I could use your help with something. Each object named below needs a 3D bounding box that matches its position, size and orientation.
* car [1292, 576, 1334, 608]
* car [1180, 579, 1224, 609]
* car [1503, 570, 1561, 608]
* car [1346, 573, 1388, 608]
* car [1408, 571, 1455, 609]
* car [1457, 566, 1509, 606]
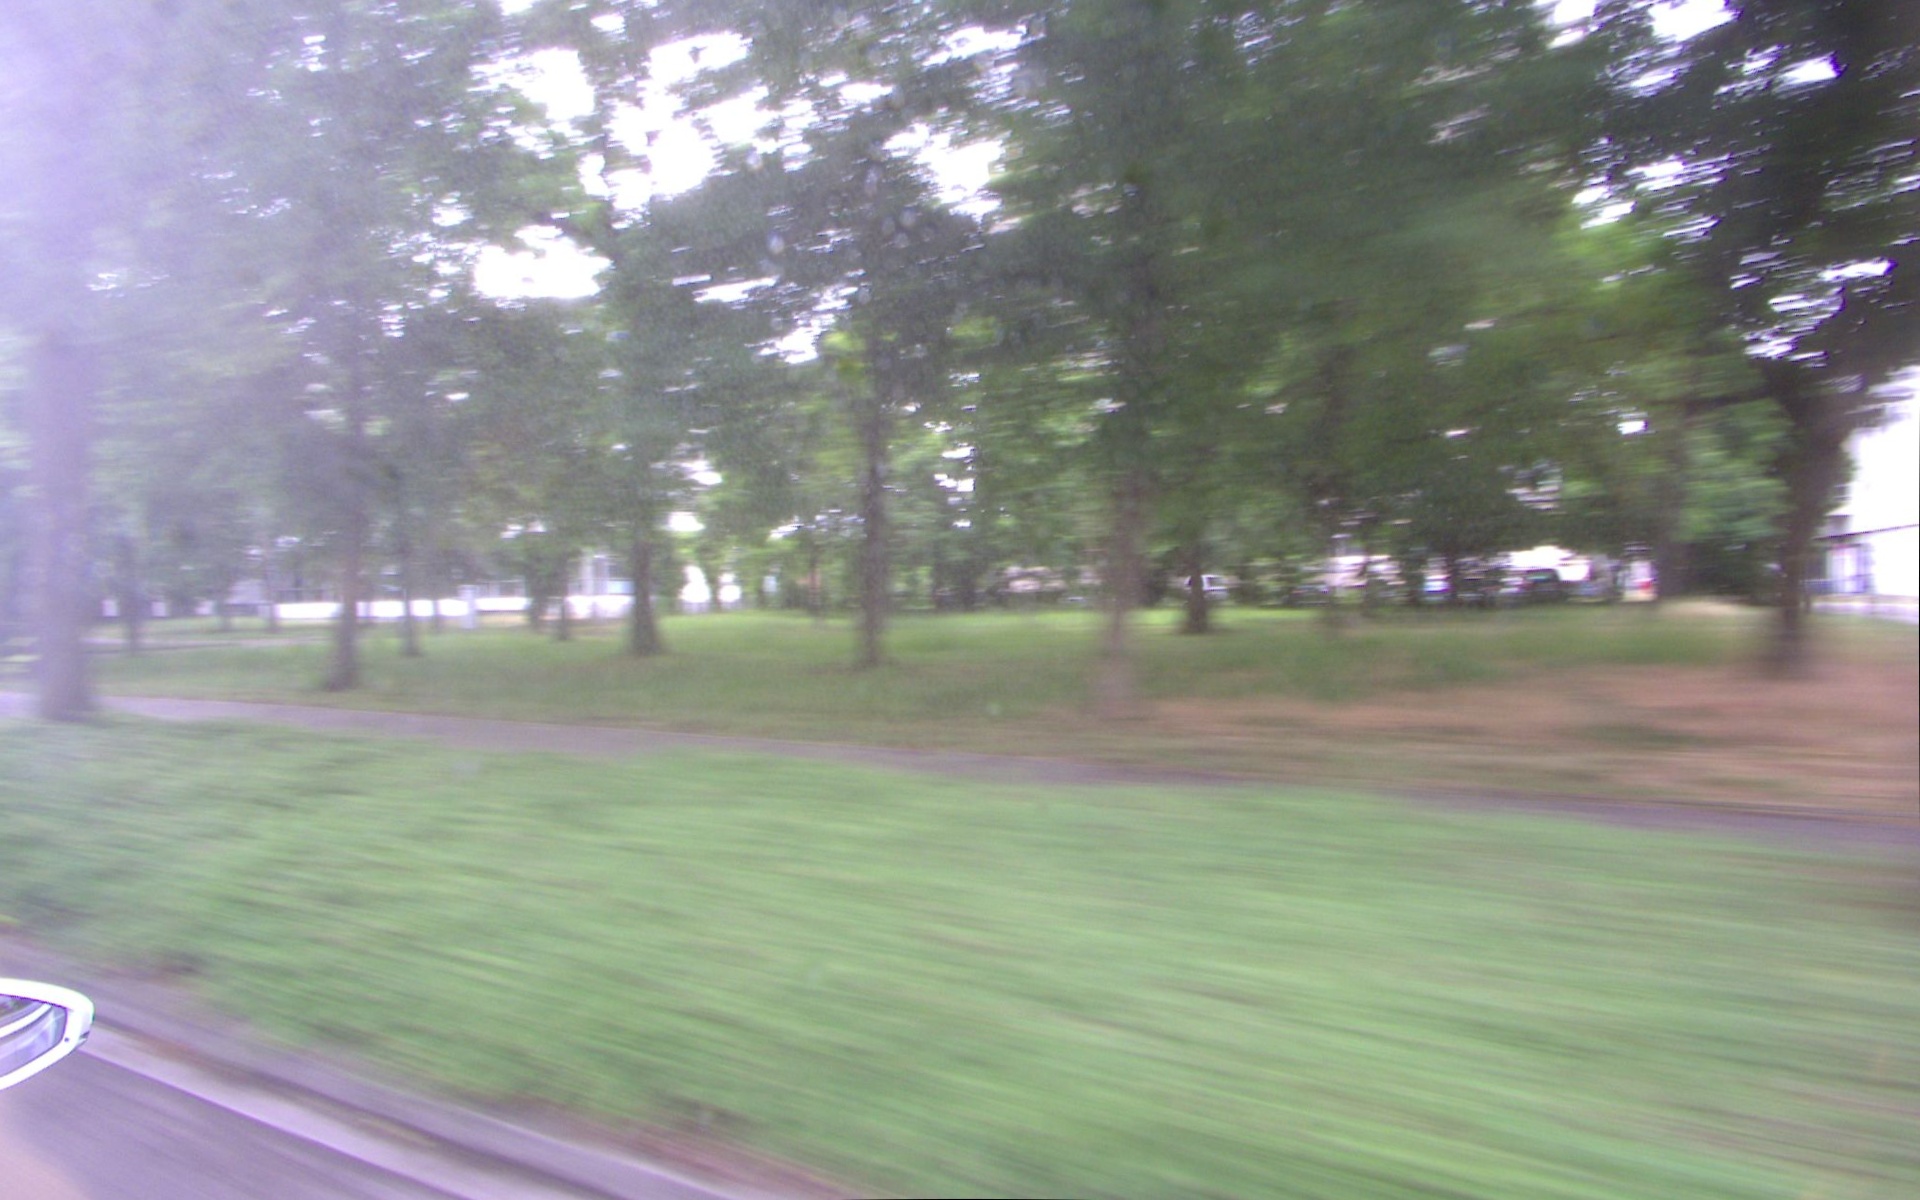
[{"bbox_3d":[19.206,-0.453,54.419,1.966,1.639,3.989,-1,0,22],"label":"car"},{"bbox_3d":[13.909,-0.326,57.514,1.891,1.639,3.989,-1,0,22],"label":"car"},{"bbox_3d":[28.526,-0.503,50.055,1.966,1.785,3.990,-1,0,22],"label":"car"},{"bbox_3d":[21.574,-0.468,53.143,1.966,1.750,3.991,-1,-1,22],"label":"car"},{"bbox_3d":[24.451,-0.482,52.051,1.966,1.817,3.991,-1,-1,22],"label":"car"},{"bbox_3d":[26.623,-0.655,51.099,1.966,1.906,3.990,-1,-1,22],"label":"car"}]
